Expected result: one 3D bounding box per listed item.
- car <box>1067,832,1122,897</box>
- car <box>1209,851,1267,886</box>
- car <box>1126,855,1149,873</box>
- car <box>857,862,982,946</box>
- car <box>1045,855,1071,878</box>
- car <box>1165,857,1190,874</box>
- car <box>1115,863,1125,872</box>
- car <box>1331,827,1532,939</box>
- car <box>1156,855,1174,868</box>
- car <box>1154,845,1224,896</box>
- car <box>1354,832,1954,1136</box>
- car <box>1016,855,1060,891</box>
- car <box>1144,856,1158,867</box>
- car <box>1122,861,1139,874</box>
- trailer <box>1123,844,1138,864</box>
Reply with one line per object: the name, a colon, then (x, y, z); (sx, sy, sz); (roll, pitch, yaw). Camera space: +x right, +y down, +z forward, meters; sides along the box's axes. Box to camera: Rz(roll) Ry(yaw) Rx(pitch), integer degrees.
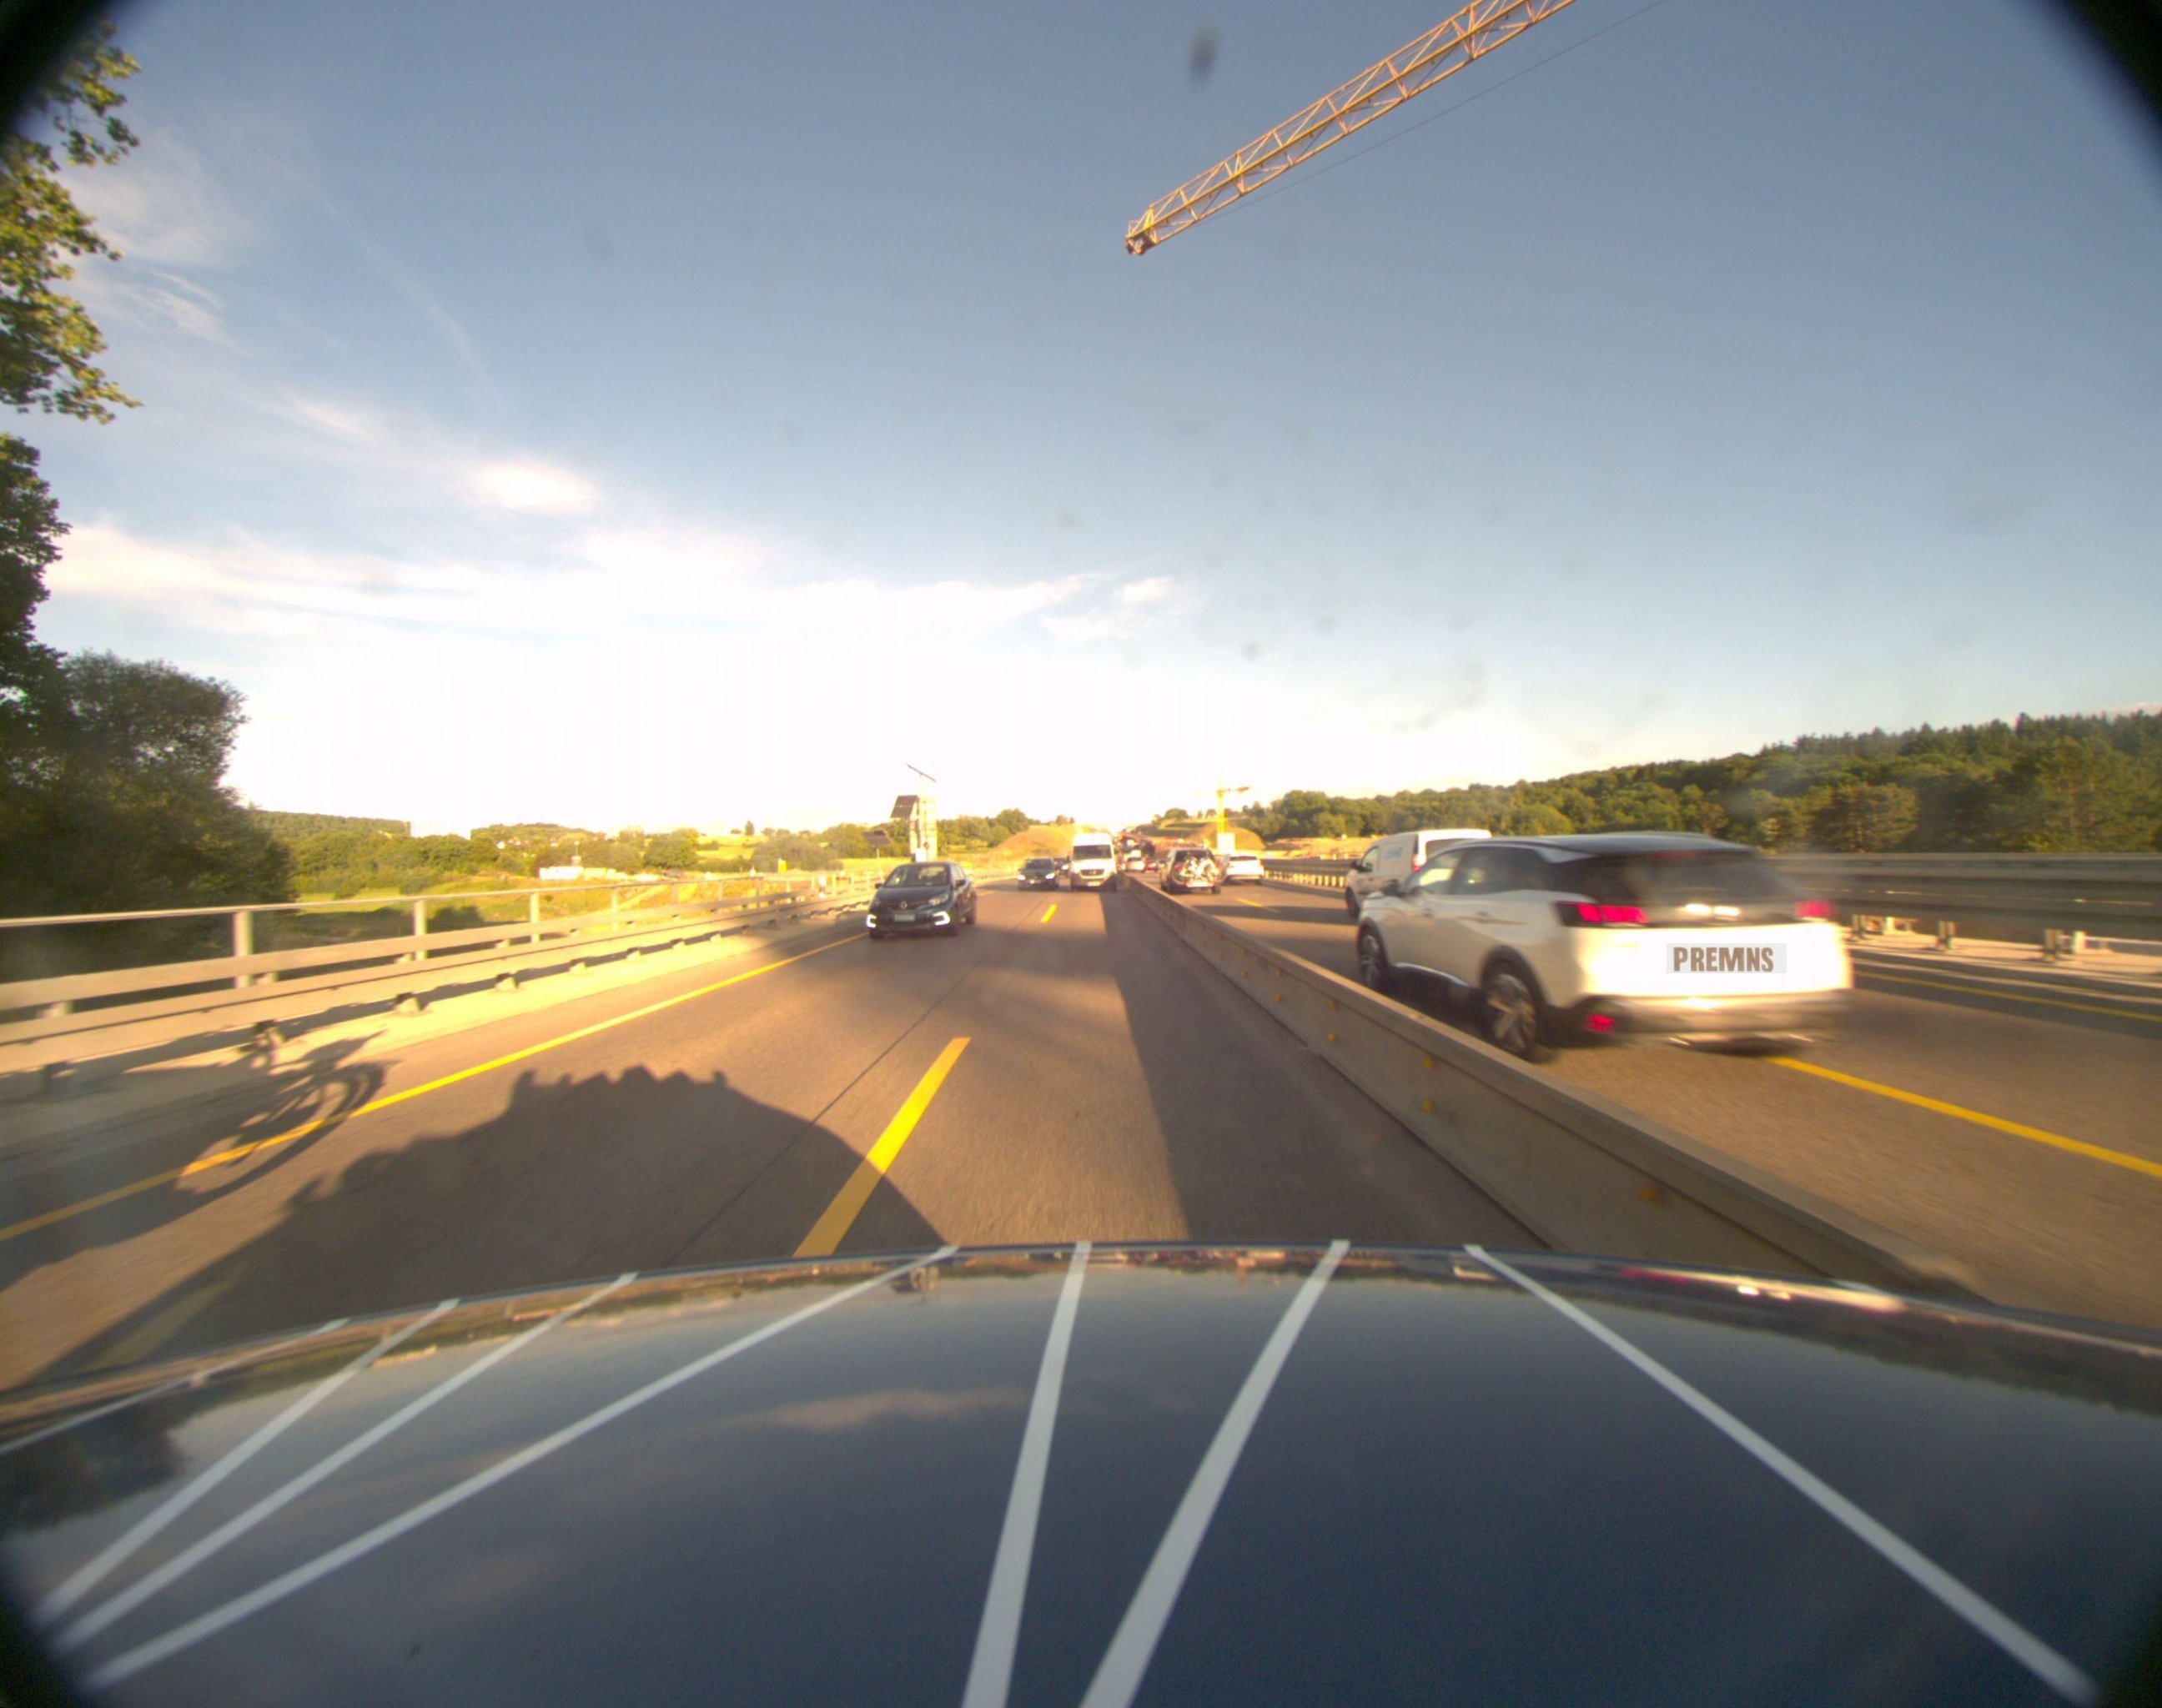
car: (0.637, 0.396, 32.833); (2.109, 2.518, 5.220); (-2, 1, 2)
car: (7.324, 0.653, 35.864); (1.933, 1.537, 4.289); (0, 0, 2)
car: (5.733, 0.990, 77.923); (1.998, 1.748, 4.660); (-2, 0, 1)
car: (-3.410, 1.004, 16.856); (1.778, 1.576, 4.135); (-2, -1, 1)
car: (-1.804, 0.984, 61.408); (1.902, 1.703, 4.888); (-2, -1, 0)
car: (8.719, 1.001, 69.045); (1.778, 1.374, 4.532); (-1, 0, 1)
car: (7.979, 2.730, 156.024); (1.998, 1.635, 4.512); (-3, -1, 1)
car: (6.825, 0.513, 15.412); (1.999, 1.845, 4.282); (-3, 0, 0)
car: (9.788, 0.872, 89.218); (1.681, 1.414, 4.580); (-2, -1, 2)
car: (4.098, 0.584, 29.513); (1.934, 1.744, 4.672); (-2, 0, -1)
car: (3.825, 0.712, 6.119); (1.843, 1.630, 4.000); (-1, 0, 1)
car: (-2.090, 0.906, 38.300); (1.817, 1.605, 4.526); (-4, 0, 0)
car: (10.197, 1.144, 110.823); (1.784, 1.561, 4.001); (-1, -1, 1)
car: (6.230, 1.688, 95.937); (1.809, 1.502, 4.000); (-2, -1, 1)
trailer: (10.859, 0.078, 166.663); (2.821, 4.026, 14.025); (-1, -1, 2)
